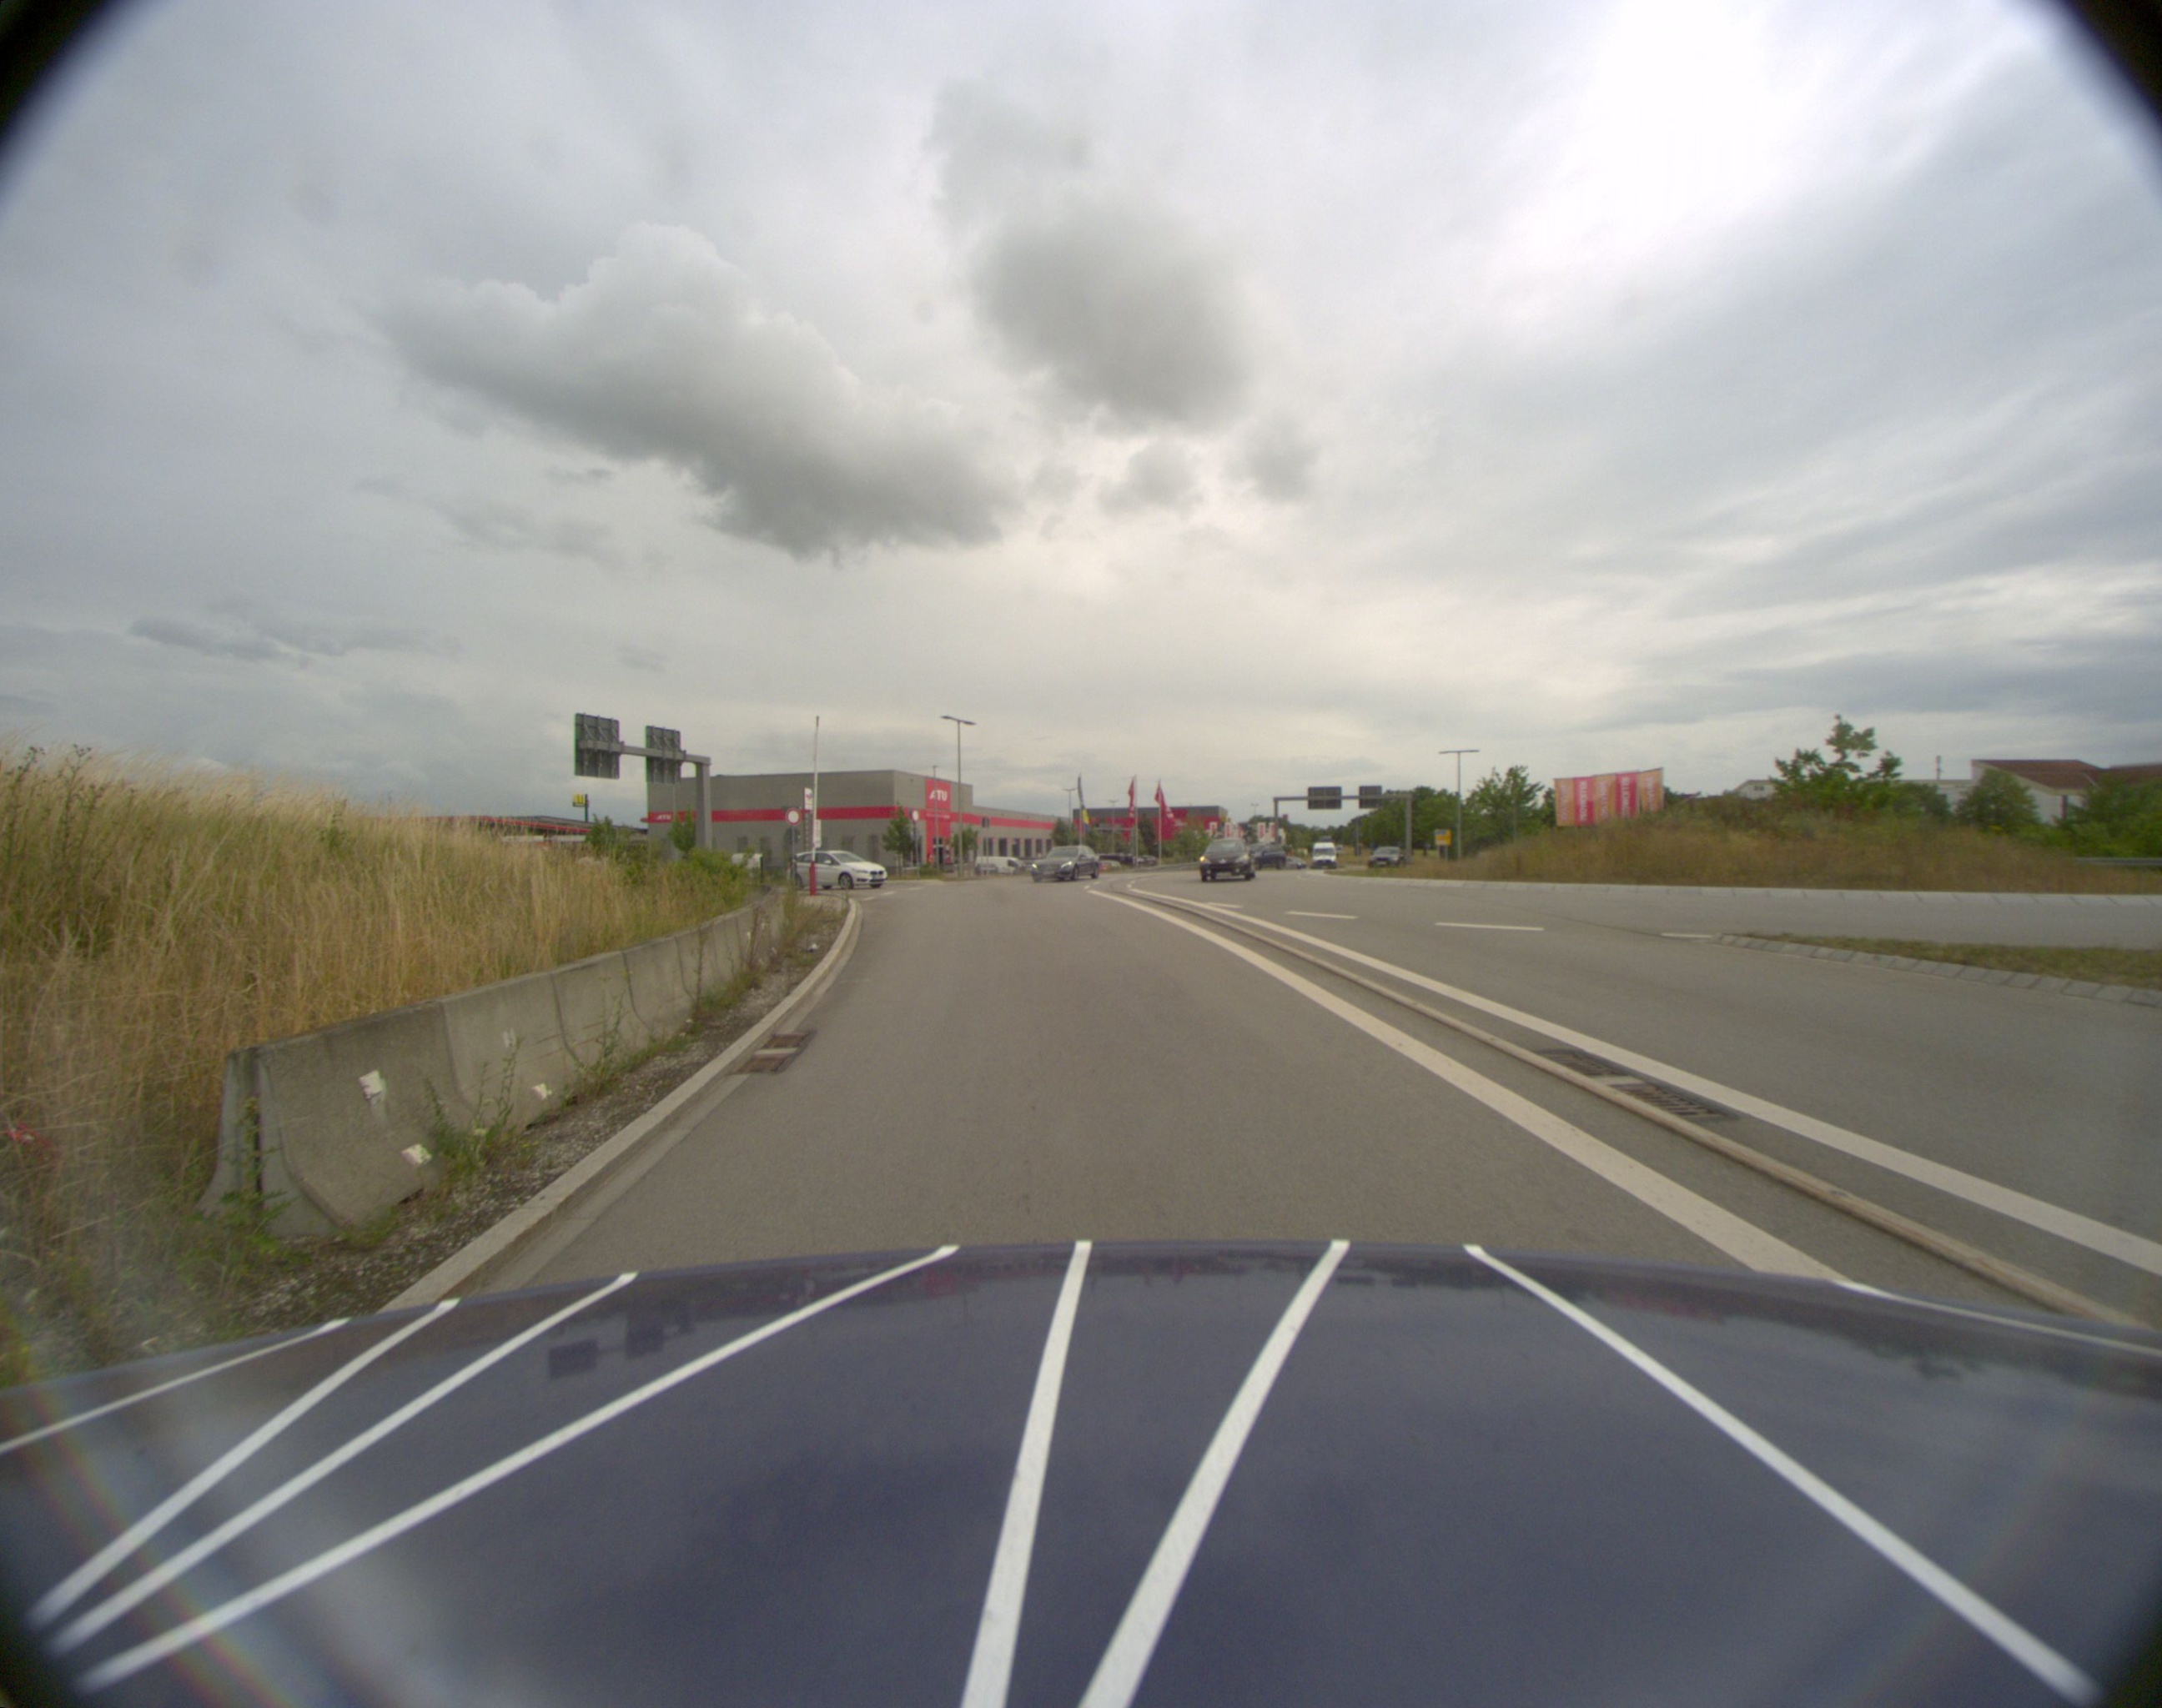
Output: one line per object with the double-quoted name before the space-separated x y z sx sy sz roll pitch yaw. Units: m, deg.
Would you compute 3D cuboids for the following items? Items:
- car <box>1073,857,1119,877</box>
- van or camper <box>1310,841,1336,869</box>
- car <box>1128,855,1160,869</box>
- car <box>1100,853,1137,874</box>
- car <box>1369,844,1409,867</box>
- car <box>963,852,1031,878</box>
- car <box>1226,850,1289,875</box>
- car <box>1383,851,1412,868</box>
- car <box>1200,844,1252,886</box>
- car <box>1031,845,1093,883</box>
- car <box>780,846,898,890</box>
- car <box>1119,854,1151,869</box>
"car" 1.308 1.103 67.049 1.774 1.571 4.065 -2 3 -39
"van or camper" 21.393 0.060 67.158 2.049 2.350 5.547 -1 1 17
"car" 7.320 0.967 88.625 1.739 1.612 4.069 0 -2 -29
"car" 3.762 0.996 76.783 1.909 1.896 4.069 2 -3 -29
"car" 18.467 0.065 45.504 1.576 1.261 3.320 -1 1 34
"car" -6.817 0.895 62.008 5.070 2.035 2.002 -1 1 11
"car" 11.067 0.499 47.419 1.855 1.404 4.566 -1 1 42
"car" 37.665 0.606 90.497 2.102 1.781 5.053 0 2 10
"car" 5.067 0.339 26.916 1.579 1.346 3.825 -1 1 7
"car" -0.732 0.373 31.843 1.763 1.412 4.093 -2 1 10
"car" -9.688 0.569 30.390 4.416 1.619 1.787 -1 1 26
"car" 6.092 0.870 85.951 1.653 1.612 4.068 0 -2 -29
